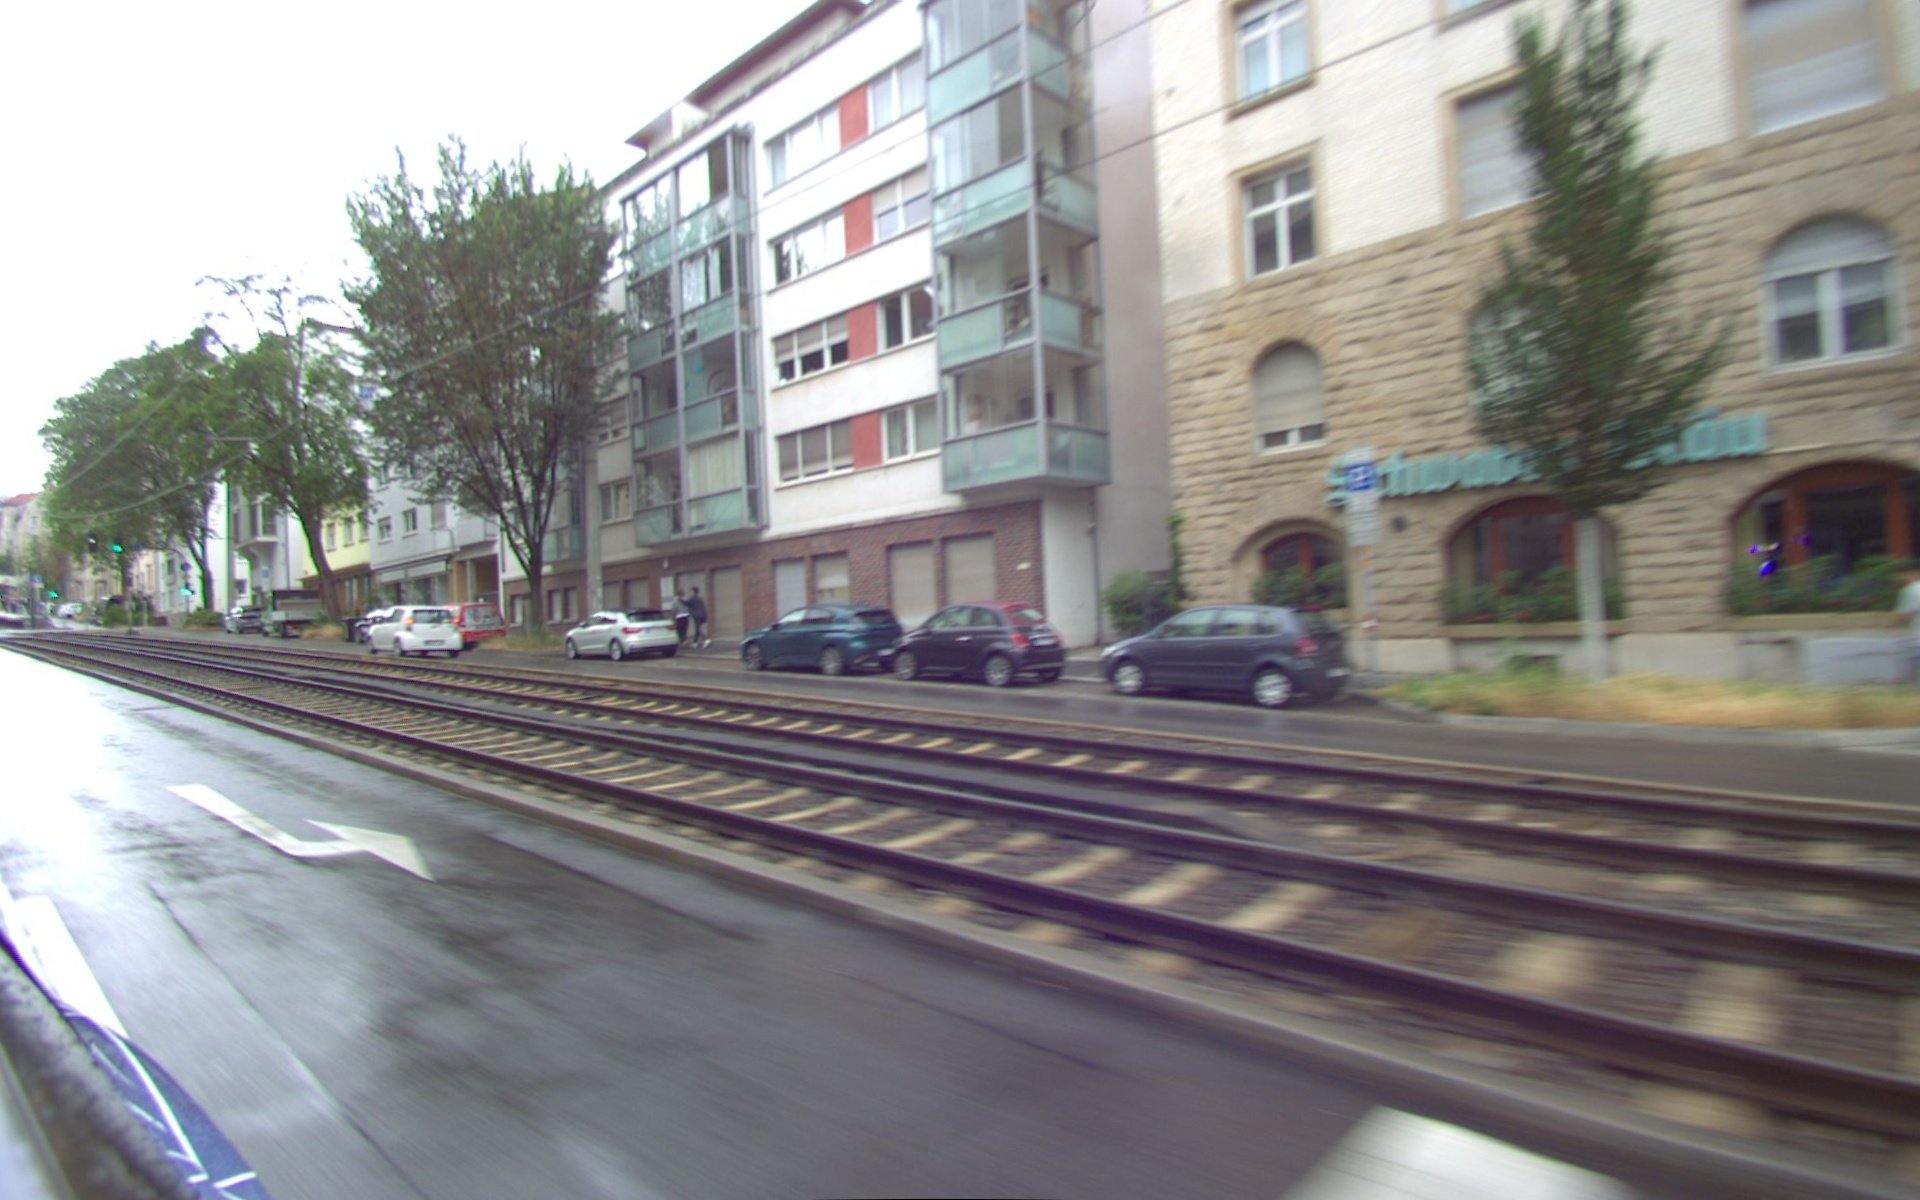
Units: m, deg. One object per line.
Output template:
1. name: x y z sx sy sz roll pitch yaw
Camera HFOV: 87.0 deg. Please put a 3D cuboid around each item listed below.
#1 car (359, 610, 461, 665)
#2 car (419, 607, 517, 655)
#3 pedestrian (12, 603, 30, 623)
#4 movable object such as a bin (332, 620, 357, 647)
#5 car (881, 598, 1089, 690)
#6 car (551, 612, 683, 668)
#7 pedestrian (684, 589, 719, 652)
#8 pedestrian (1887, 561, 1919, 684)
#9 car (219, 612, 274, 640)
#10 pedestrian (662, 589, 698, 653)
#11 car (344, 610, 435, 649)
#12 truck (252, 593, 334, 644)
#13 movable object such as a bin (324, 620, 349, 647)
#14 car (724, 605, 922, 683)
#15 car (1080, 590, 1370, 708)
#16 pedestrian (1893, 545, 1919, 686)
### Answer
1. car: -16.339 1.071 30.010 3.581 1.493 1.609 -1 0 43
2. car: -17.624 1.080 36.165 4.158 1.581 1.757 -1 0 42
3. pedestrian: -83.242 1.133 89.697 0.965 1.796 1.105 -1 -1 43
4. movable object such as a bin: -26.025 1.421 42.770 0.670 1.130 0.718 -1 -1 37
5. car: 0.414 0.785 18.825 3.524 1.509 1.788 -2 0 41
6. car: -9.571 1.058 28.099 4.131 1.345 1.684 -1 2 43
7. pedestrian: -7.554 0.588 29.560 0.782 1.786 0.666 -1 0 43
8. pedestrian: 11.460 0.261 12.010 0.645 1.432 0.746 -1 0 44
9. car: -40.644 1.459 57.613 4.361 1.471 1.686 -1 1 43
10. pedestrian: -8.039 0.587 29.046 0.782 1.786 0.666 -1 0 43
11. car: -23.054 1.153 40.847 4.468 1.451 1.886 -1 0 42
12. truck: -33.384 0.870 50.569 2.167 2.363 6.356 0 0 -45
13. movable object such as a bin: -26.625 1.423 43.199 0.670 1.130 0.718 -1 -1 37
14. car: -3.034 0.903 21.827 4.430 1.466 1.782 -1 1 42
15. car: 3.940 0.678 15.426 3.894 1.564 1.746 -1 0 43
16. pedestrian: 11.028 0.173 11.459 0.511 1.582 0.644 1 -1 -43
